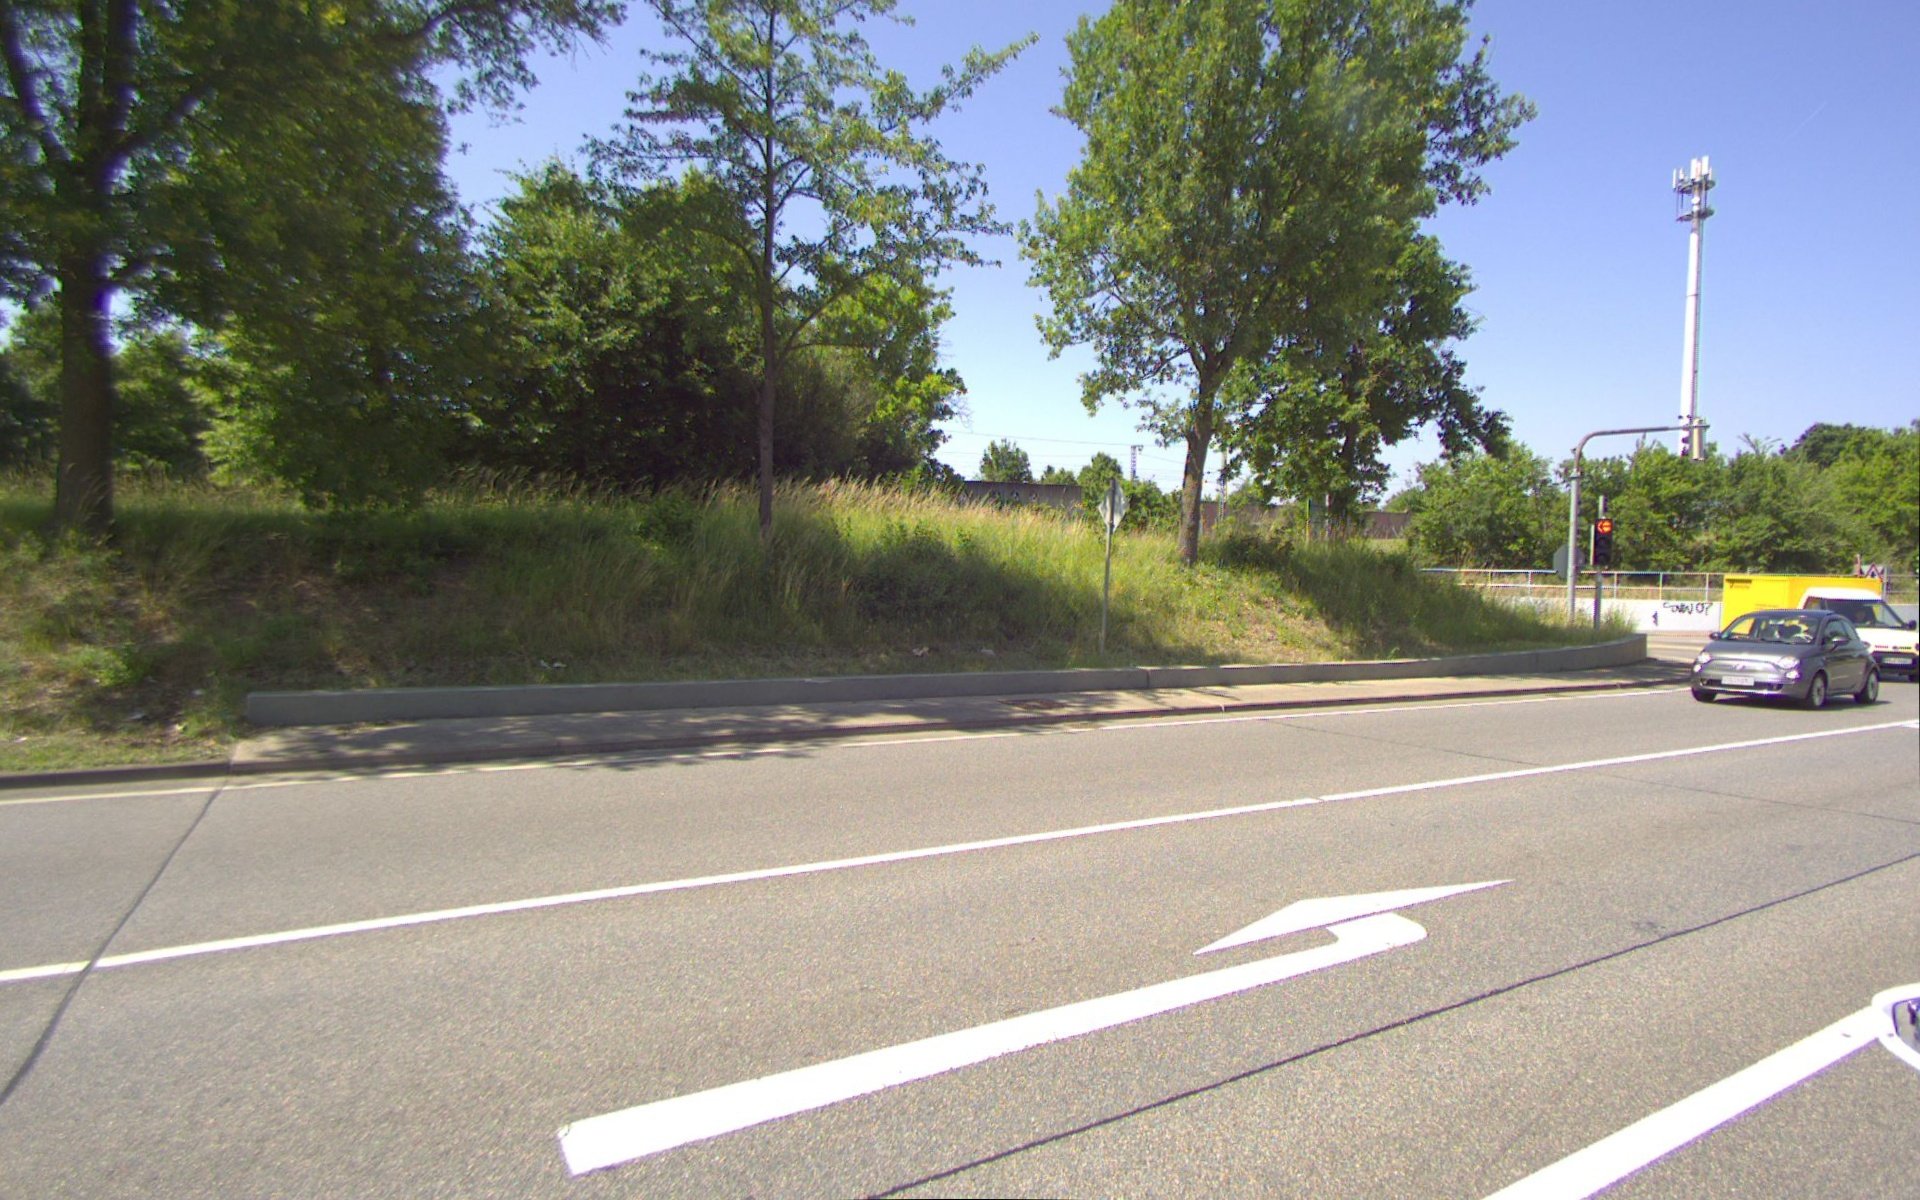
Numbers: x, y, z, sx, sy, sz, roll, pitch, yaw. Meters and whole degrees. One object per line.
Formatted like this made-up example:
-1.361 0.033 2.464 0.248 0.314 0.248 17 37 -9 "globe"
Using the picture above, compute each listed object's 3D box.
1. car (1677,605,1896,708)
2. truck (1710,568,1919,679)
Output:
13.453 0.856 16.326 3.557 1.489 1.579 1 0 -29 "car"
20.467 0.475 23.955 1.944 2.305 6.027 1 0 15 "truck"
